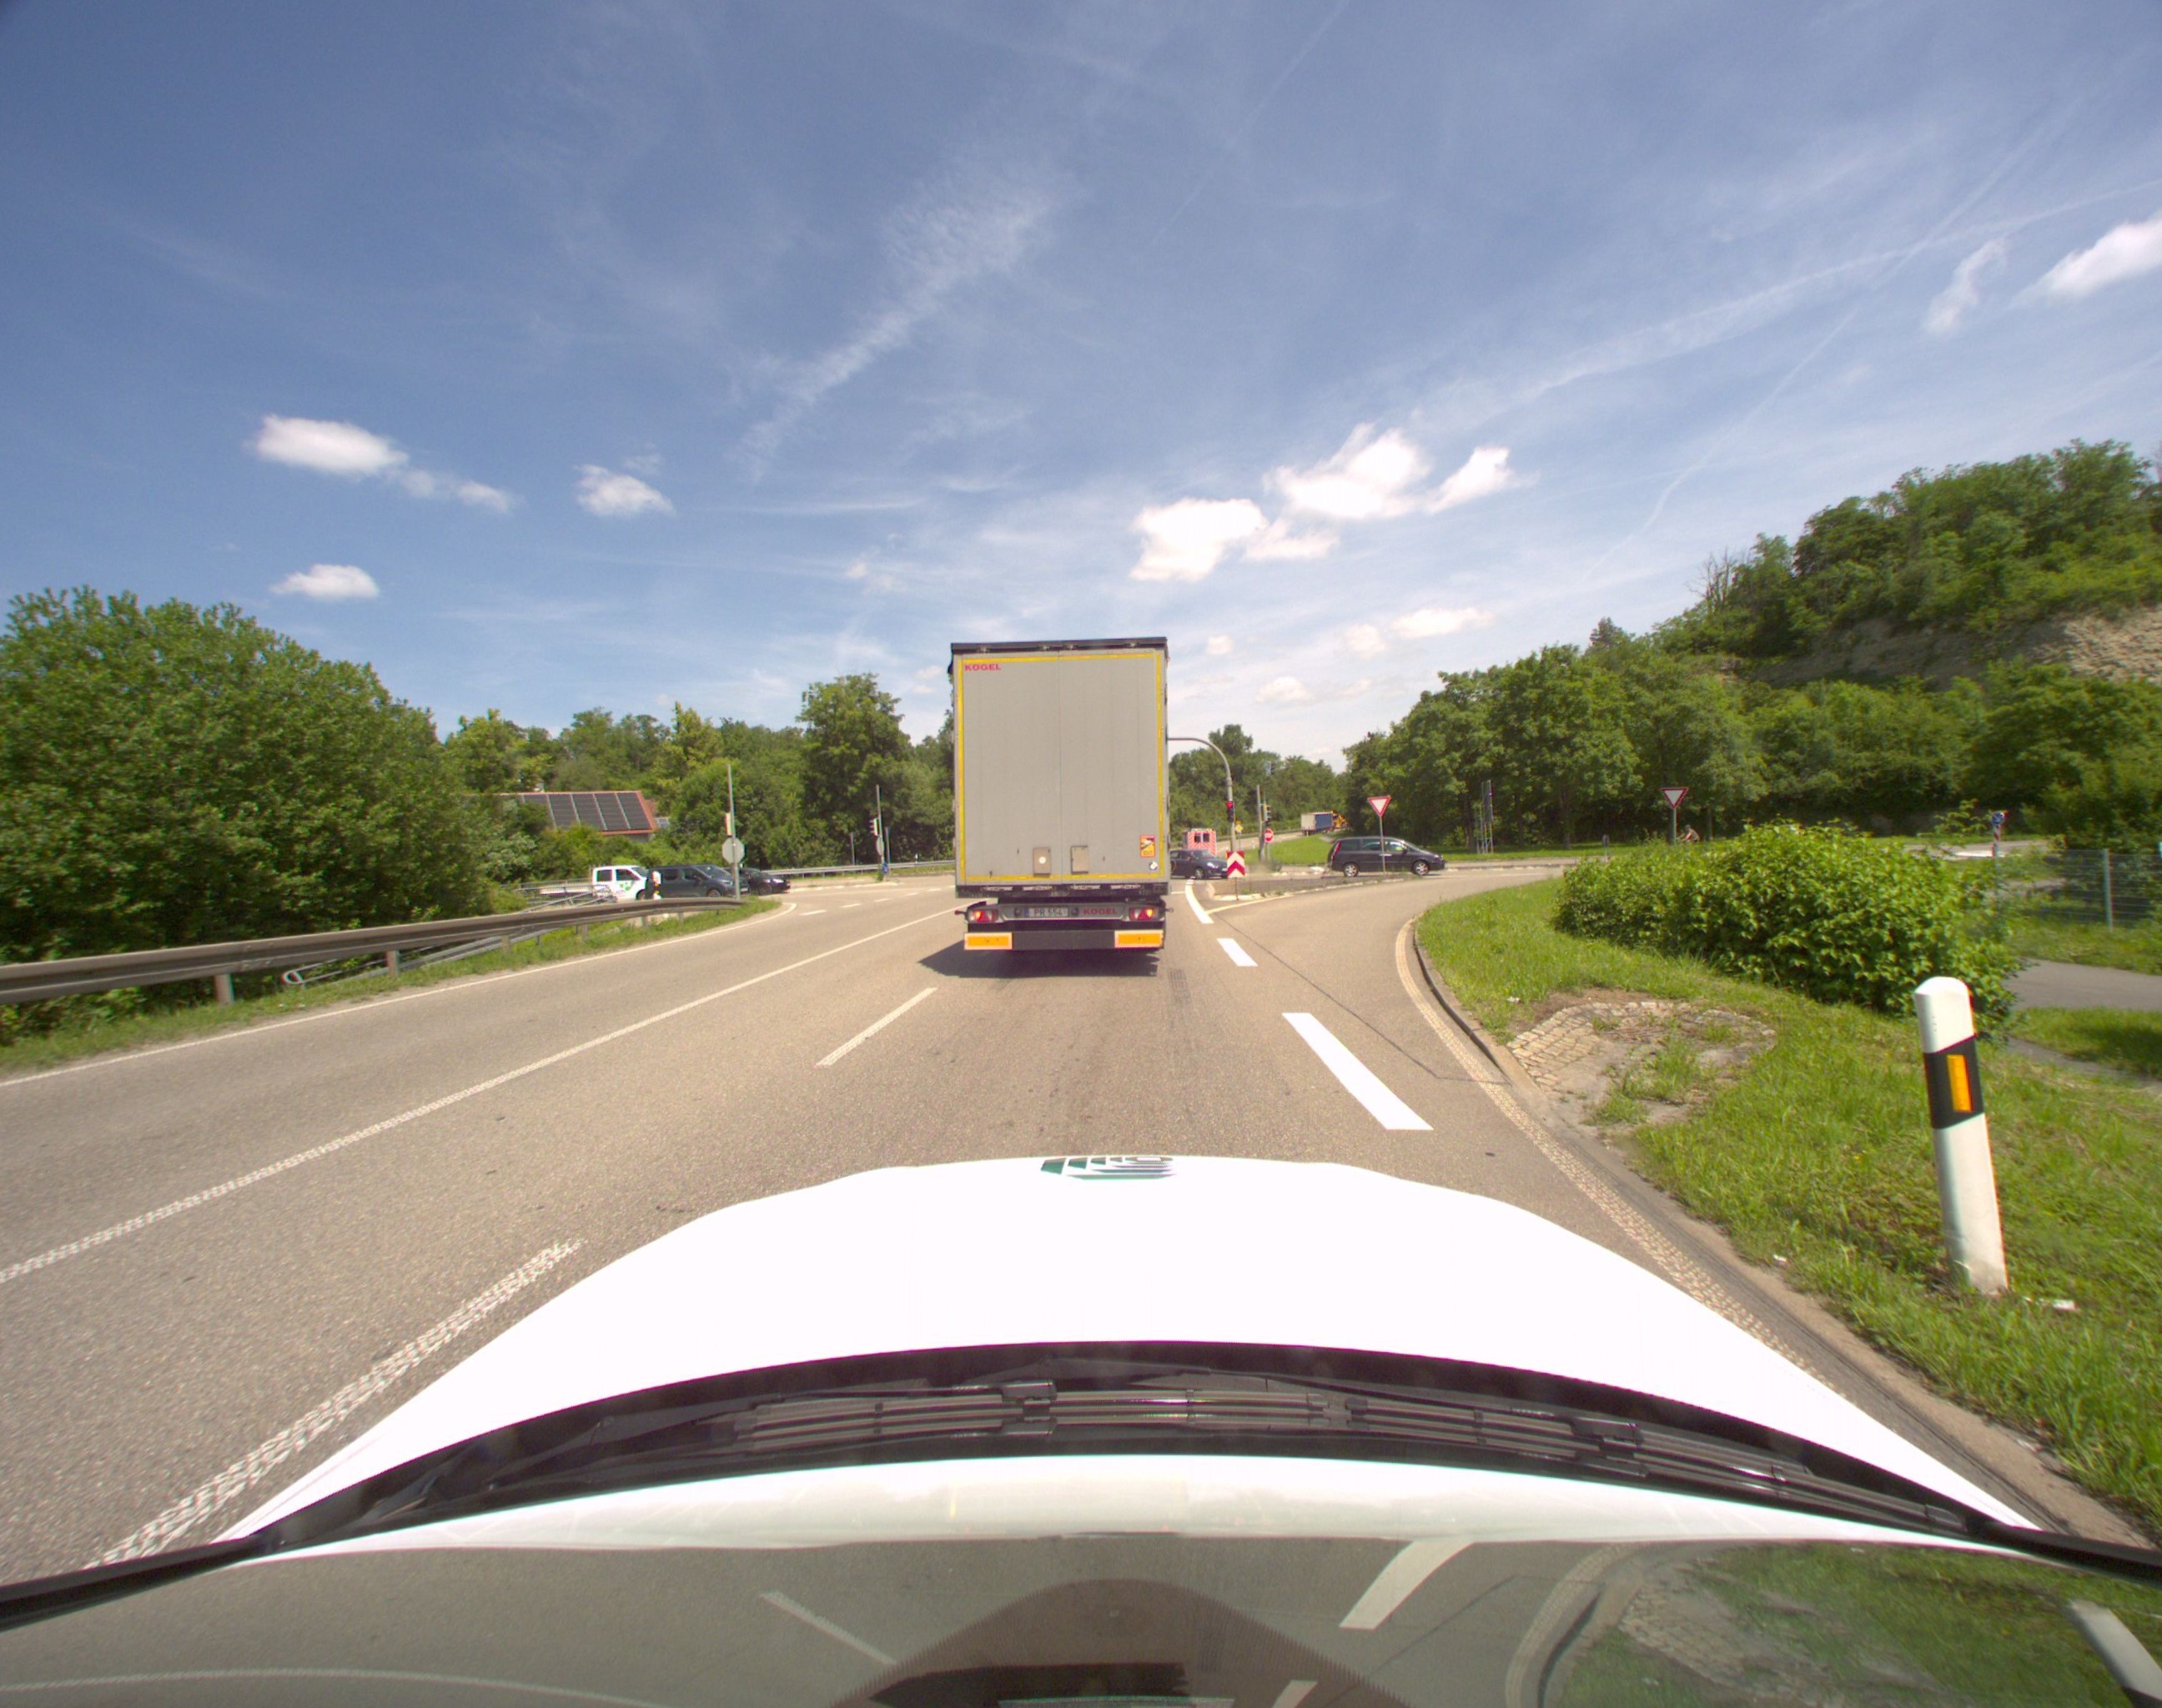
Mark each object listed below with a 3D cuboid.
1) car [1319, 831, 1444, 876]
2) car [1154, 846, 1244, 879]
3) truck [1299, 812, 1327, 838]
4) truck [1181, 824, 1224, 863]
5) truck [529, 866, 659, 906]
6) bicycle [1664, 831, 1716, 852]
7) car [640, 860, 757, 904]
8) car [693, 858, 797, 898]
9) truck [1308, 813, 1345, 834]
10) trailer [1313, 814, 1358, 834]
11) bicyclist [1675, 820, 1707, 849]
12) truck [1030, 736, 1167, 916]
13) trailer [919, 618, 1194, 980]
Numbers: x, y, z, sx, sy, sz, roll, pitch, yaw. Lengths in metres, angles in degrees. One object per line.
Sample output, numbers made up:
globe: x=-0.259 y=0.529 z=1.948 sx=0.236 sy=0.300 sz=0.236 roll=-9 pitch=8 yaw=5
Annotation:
car: x=12.916 y=0.024 z=35.185 sx=4.885 sy=1.785 sz=2.010 roll=-1 pitch=-2 yaw=19
car: x=5.627 y=0.430 z=39.257 sx=2.008 sy=1.491 sz=4.212 roll=1 pitch=-2 yaw=-34
truck: x=43.467 y=-5.340 z=152.210 sx=3.150 sy=4.030 sz=11.810 roll=-1 pitch=-3 yaw=26
truck: x=9.188 y=-0.707 z=62.015 sx=2.484 sy=2.728 sz=6.032 roll=-1 pitch=-2 yaw=2
truck: x=-23.187 y=1.518 z=39.003 sx=4.877 sy=1.791 sz=2.036 roll=0 pitch=-2 yaw=-11
bicycle: x=30.772 y=-0.626 z=41.166 sx=1.983 sy=0.995 sz=0.797 roll=0 pitch=-2 yaw=-1
car: x=-16.717 y=1.229 z=35.705 sx=4.206 sy=1.770 sz=2.006 roll=-2 pitch=-1 yaw=11
car: x=-16.394 y=1.160 z=39.832 sx=4.206 sy=1.770 sz=2.006 roll=-2 pitch=-1 yaw=11
truck: x=54.099 y=-6.616 z=178.925 sx=4.963 sy=4.362 sz=11.840 roll=-1 pitch=1 yaw=31
trailer: x=58.471 y=-6.860 z=186.270 sx=4.963 sy=4.362 sz=20.971 roll=-1 pitch=1 yaw=31
bicyclist: x=30.835 y=-0.980 z=41.181 sx=1.002 sy=1.448 sz=0.795 roll=0 pitch=-2 yaw=-1
truck: x=0.626 y=-0.639 z=21.910 sx=3.024 sy=4.033 sz=6.637 roll=-1 pitch=0 yaw=4
trailer: x=0.158 y=-0.639 z=15.526 sx=3.038 sy=4.033 sz=12.573 roll=-1 pitch=0 yaw=4
